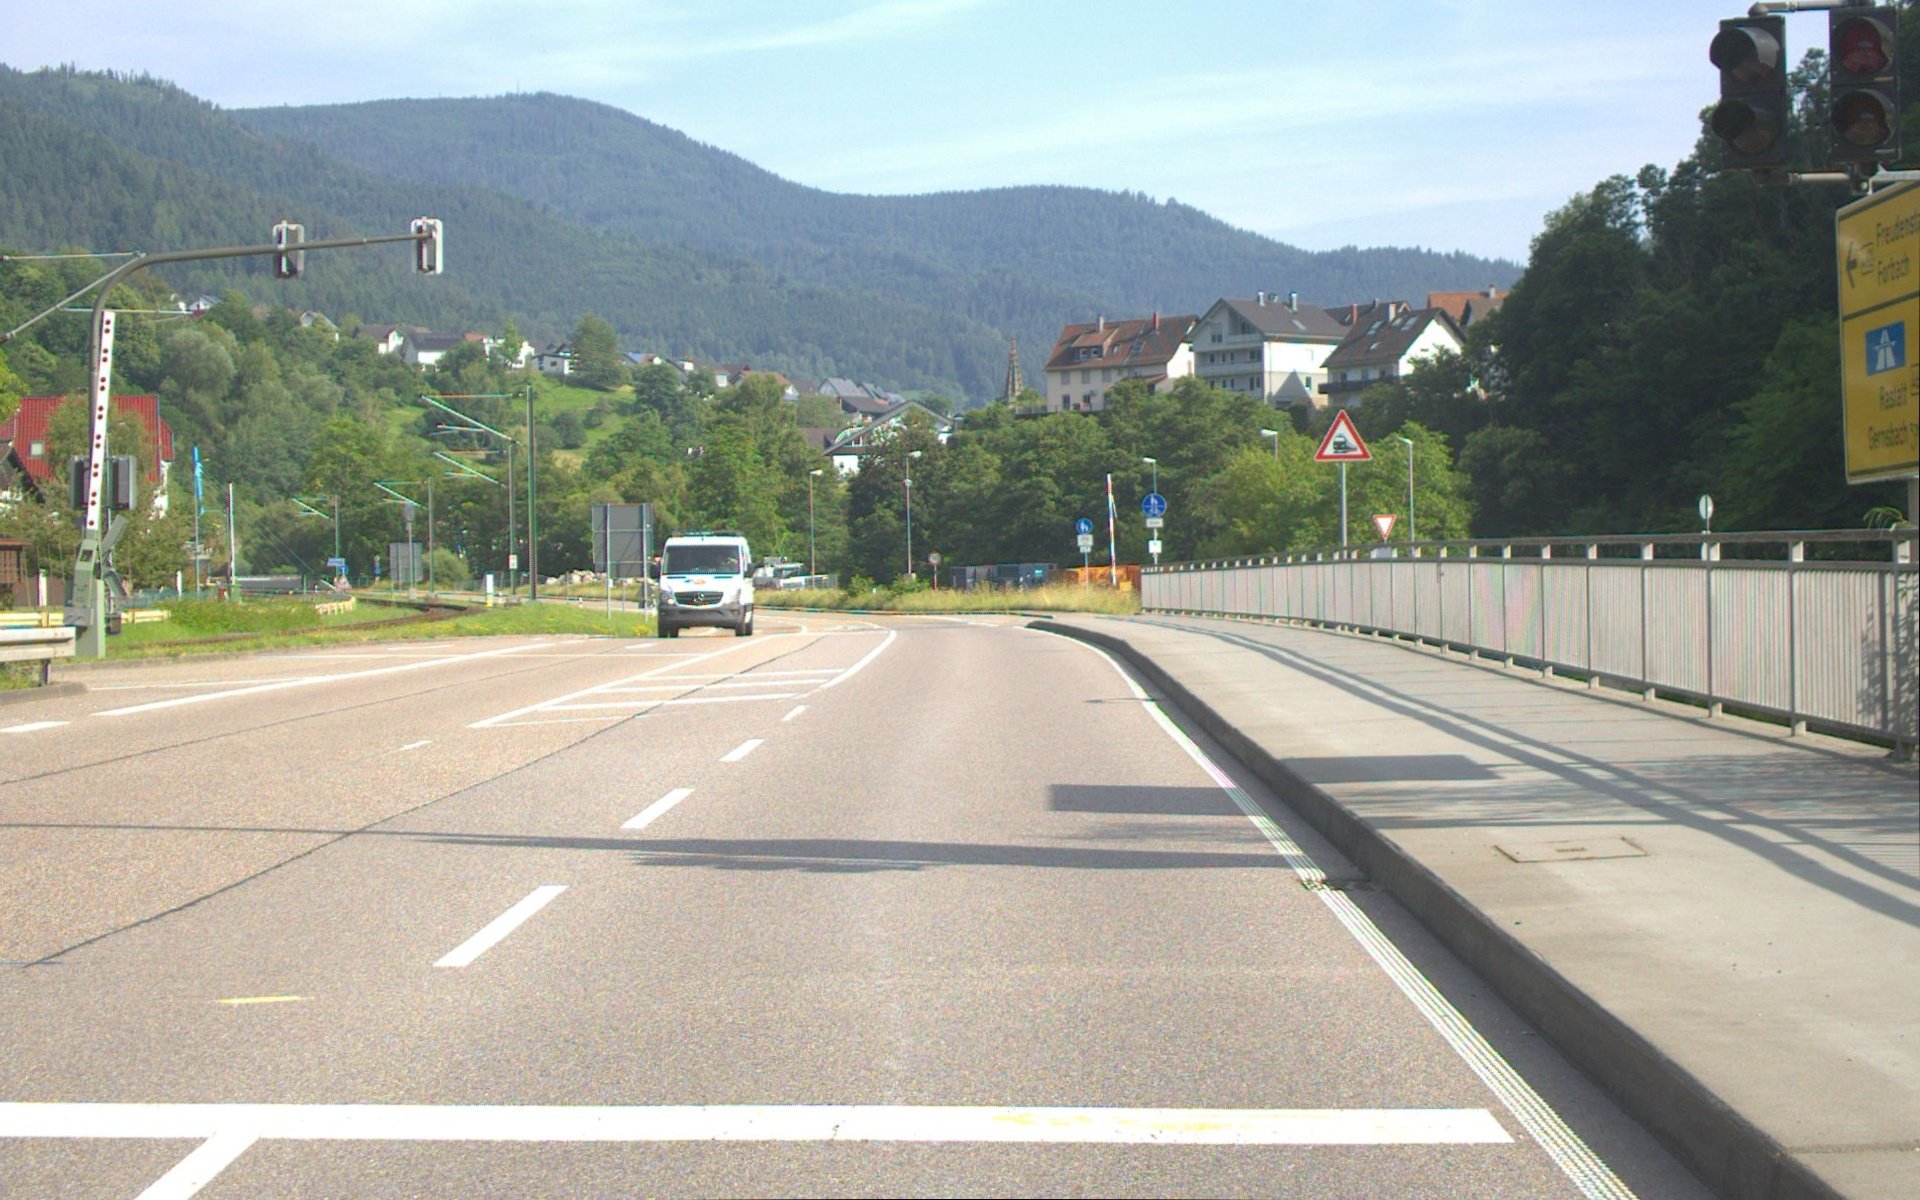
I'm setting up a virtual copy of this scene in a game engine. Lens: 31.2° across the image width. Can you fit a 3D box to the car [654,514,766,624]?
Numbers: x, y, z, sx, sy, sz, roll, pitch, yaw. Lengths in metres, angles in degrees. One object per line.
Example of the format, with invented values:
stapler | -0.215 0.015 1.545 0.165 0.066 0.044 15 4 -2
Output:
car | -5.688 -0.727 78.753 2.119 2.428 5.228 0 1 1
